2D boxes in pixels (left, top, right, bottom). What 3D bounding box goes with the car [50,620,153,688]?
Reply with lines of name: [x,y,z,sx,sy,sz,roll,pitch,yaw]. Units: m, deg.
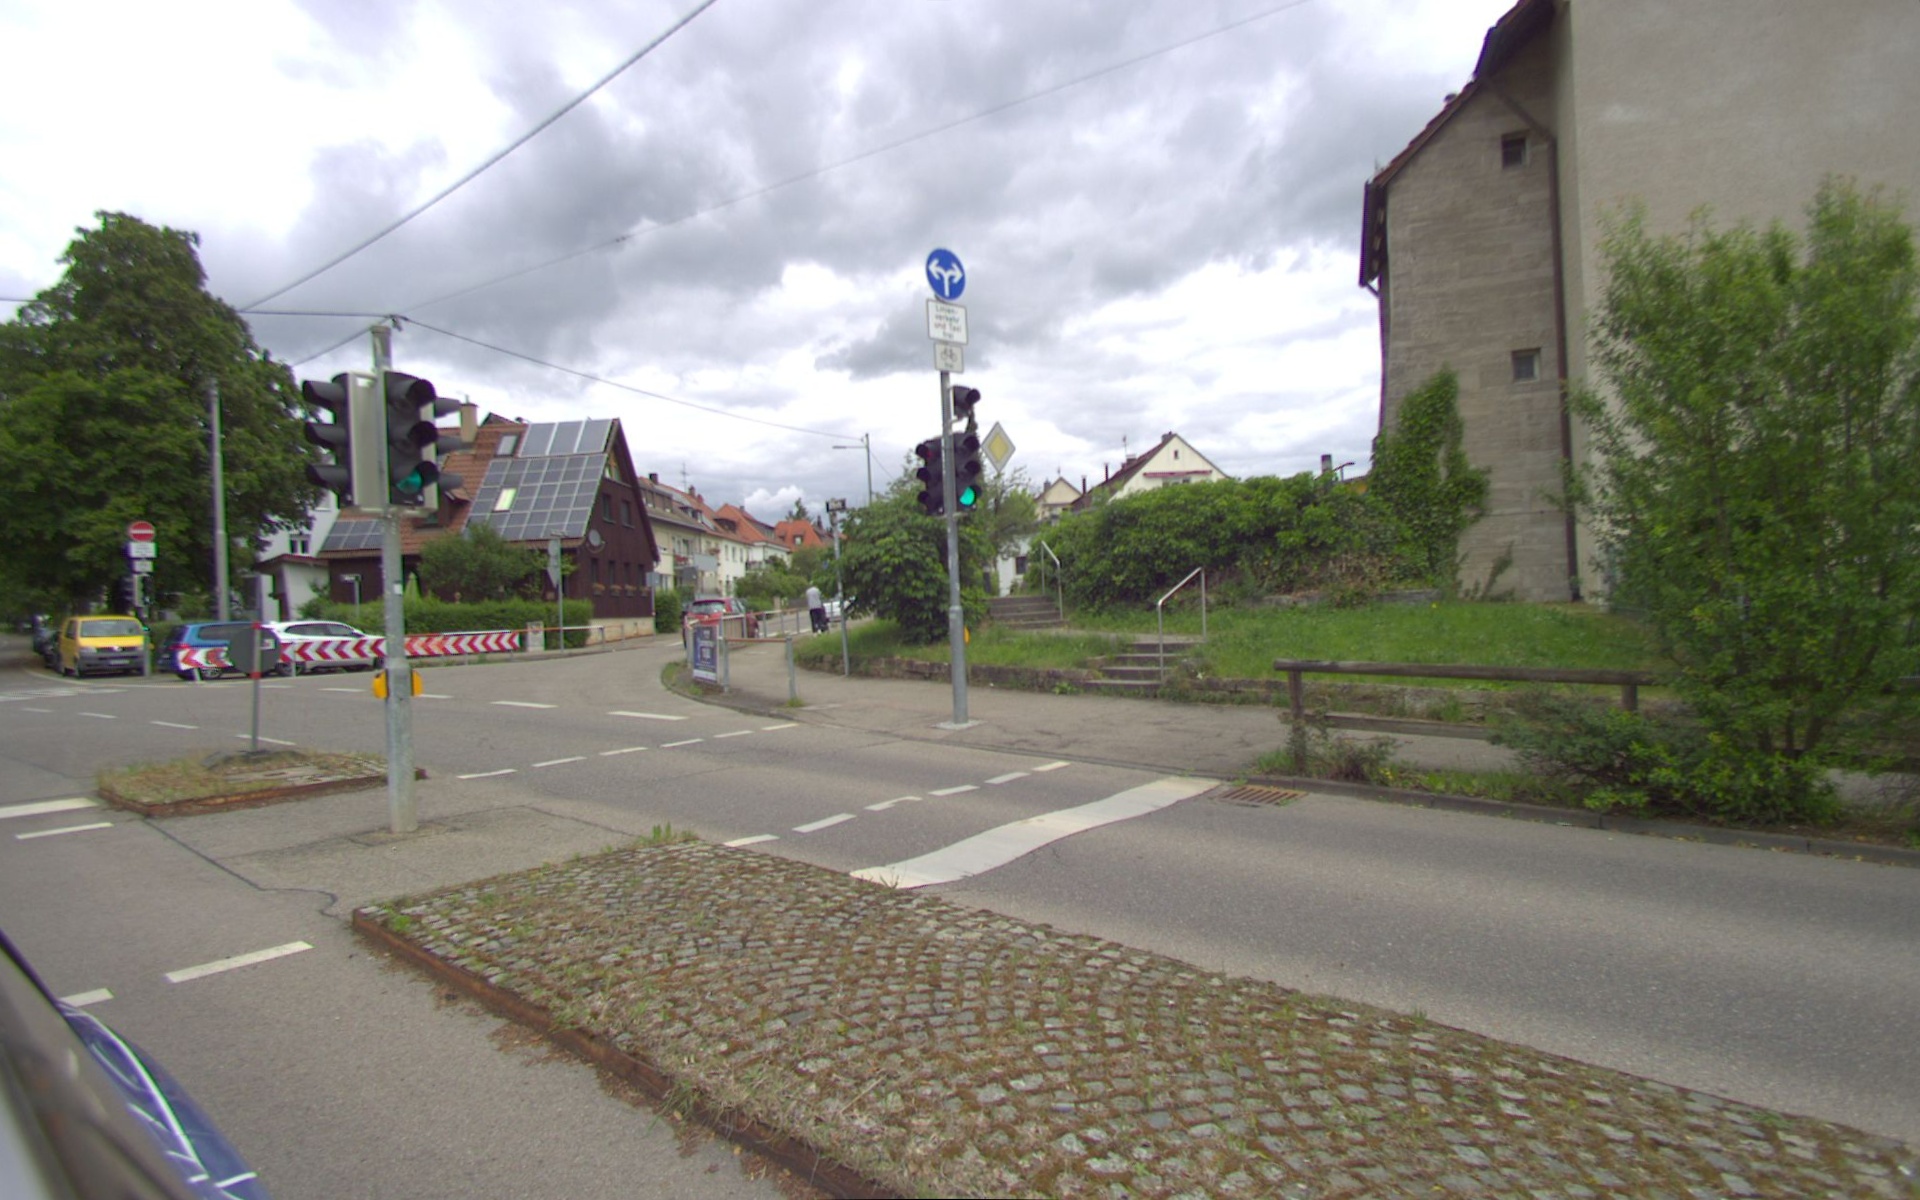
car: [-27.967,1.723,32.914,4.798,2.004,1.896,-2,-1,42]

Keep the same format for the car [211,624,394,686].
car: [-18.270,1.501,28.289,1.837,1.483,3.867,-3,-1,29]

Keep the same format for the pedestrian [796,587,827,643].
pedestrian: [-4.565,0.461,31.223,0.681,1.665,0.829,-2,2,7]

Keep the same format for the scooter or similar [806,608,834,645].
scooter or similar: [-4.442,0.833,32.124,0.605,1.103,0.888,-2,2,7]

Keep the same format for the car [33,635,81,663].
car: [-49.692,2.691,55.758,1.825,1.387,4.600,-1,-1,-41]

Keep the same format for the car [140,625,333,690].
car: [-20.628,1.600,29.007,1.842,1.558,4.127,-4,-1,37]

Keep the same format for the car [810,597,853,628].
car: [-6.770,0.679,53.491,1.750,1.501,3.684,-3,-1,0]

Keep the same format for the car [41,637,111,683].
car: [-32.327,2.157,36.977,1.725,1.461,4.517,-1,0,-43]

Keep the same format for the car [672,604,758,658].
car: [-7.596,0.938,31.680,1.750,1.501,3.684,-3,-1,0]

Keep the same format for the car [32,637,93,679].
car: [-36.003,2.273,40.587,1.724,1.461,4.599,-1,0,-42]

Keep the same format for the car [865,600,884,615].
car: [-9.647,0.854,114.117,1.750,1.501,3.684,-3,-1,0]

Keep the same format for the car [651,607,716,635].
car: [-16.453,1.248,60.286,3.395,1.501,1.590,-3,-1,2]
